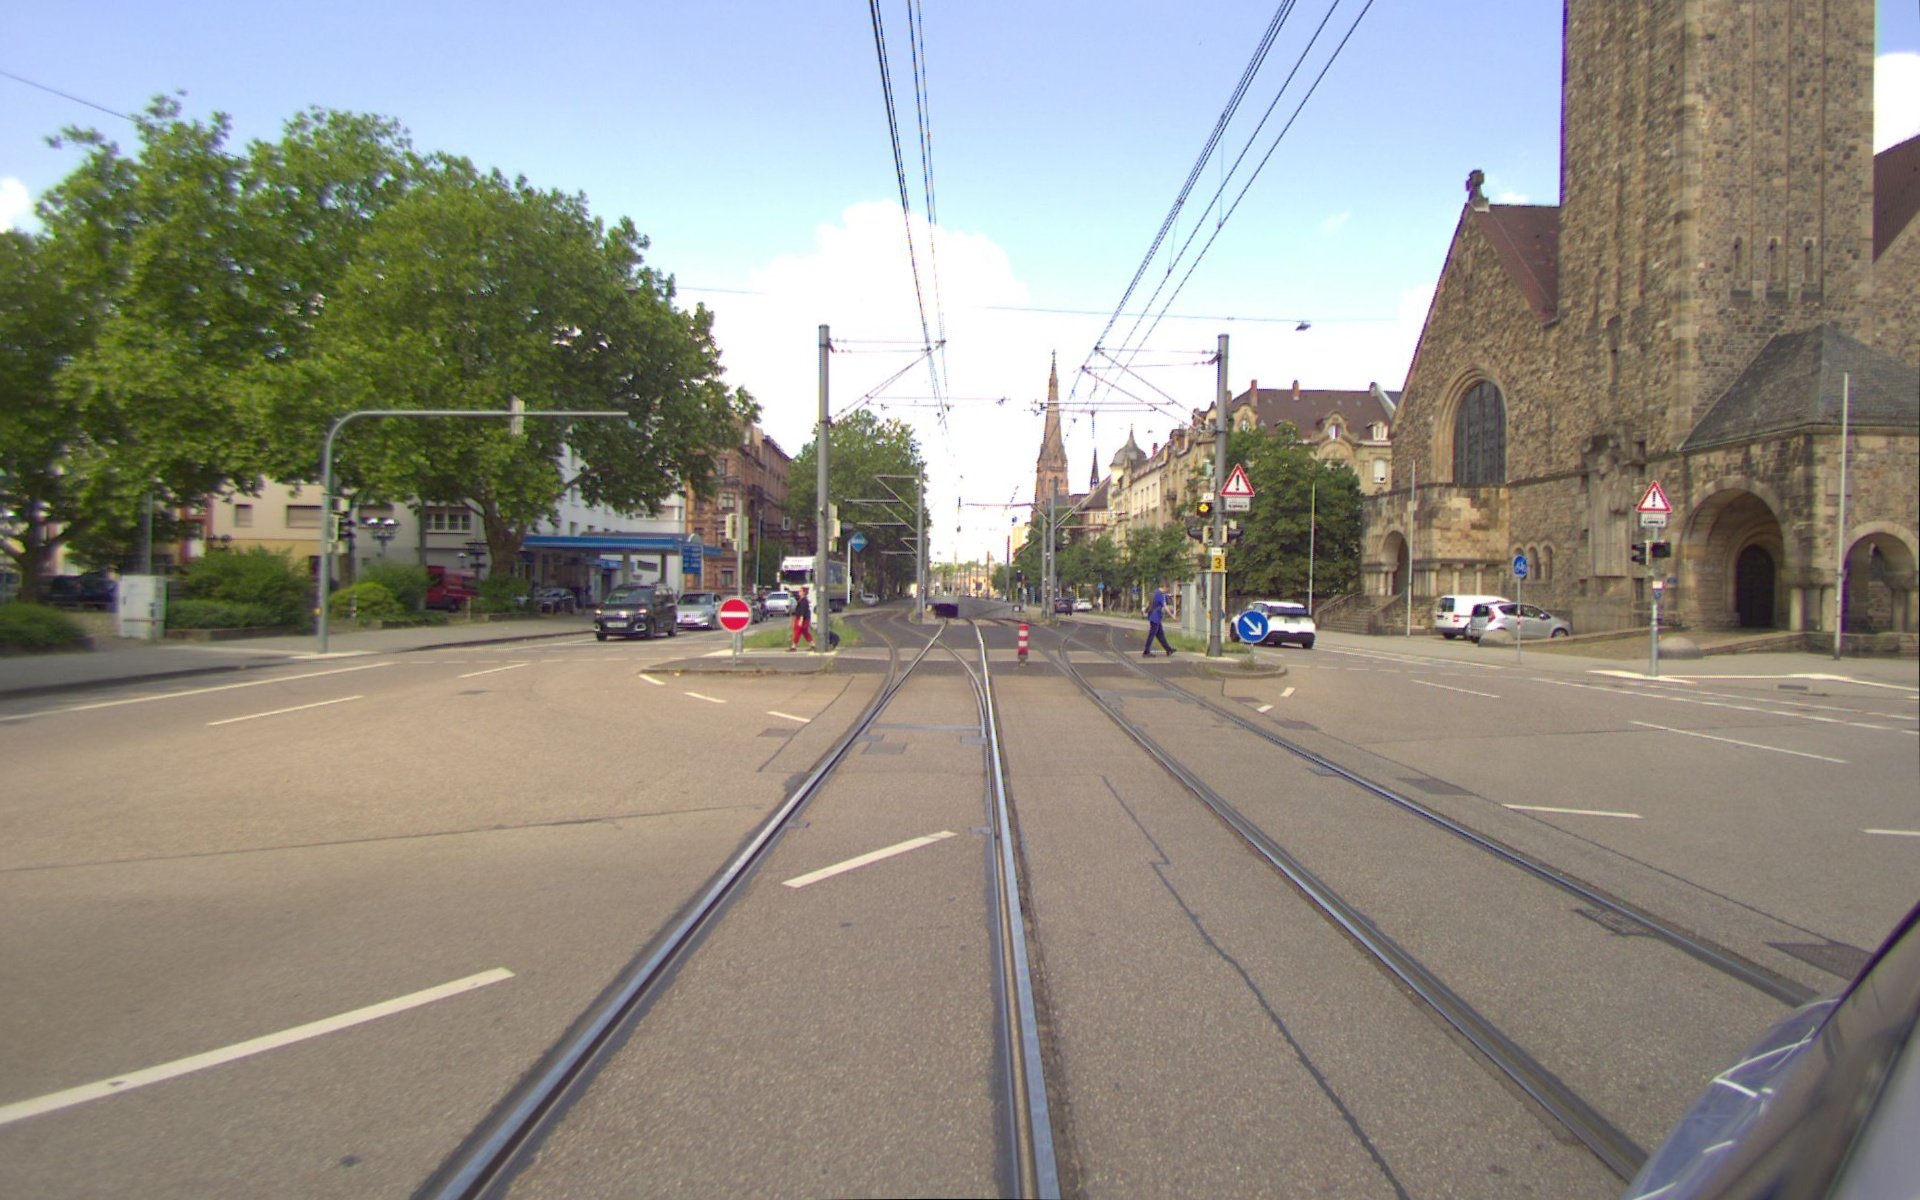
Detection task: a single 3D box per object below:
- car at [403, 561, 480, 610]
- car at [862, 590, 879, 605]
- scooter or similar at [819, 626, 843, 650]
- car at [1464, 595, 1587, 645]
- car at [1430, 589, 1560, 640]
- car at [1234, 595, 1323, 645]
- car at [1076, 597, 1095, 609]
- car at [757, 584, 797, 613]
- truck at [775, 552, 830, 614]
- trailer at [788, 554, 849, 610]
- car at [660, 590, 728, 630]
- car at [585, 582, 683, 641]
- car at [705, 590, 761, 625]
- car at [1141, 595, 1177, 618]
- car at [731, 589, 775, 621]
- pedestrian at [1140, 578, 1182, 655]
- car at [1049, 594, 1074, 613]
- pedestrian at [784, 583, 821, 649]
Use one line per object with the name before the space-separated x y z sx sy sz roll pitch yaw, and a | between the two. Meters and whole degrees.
car | -27.560 -0.807 53.936 2.072 2.450 4.001 1 1 0
car | -10.858 -0.342 122.762 1.769 1.651 4.001 1 2 -1
scooter or similar | -3.096 0.903 24.273 0.510 0.542 0.311 3 0 -13
car | 21.322 0.748 38.260 3.566 1.700 1.820 3 -1 -4
car | 21.982 0.584 41.681 4.222 1.877 2.000 2 0 -1
car | 10.707 0.620 34.303 1.787 1.524 4.129 1 1 2
car | 13.533 0.275 109.453 1.624 1.249 3.064 1 1 -1
car | -11.681 -0.118 64.829 1.819 1.726 4.135 1 1 0
truck | -11.241 -1.281 72.925 2.863 4.200 6.591 1 1 1
trailer | -11.075 -1.504 80.503 2.863 4.128 11.649 1 2 1
car | -10.866 0.357 41.617 1.701 1.484 4.328 1 1 -1
car | -10.667 0.319 33.434 1.819 1.748 4.419 1 1 0
car | -10.903 0.319 48.892 1.819 1.464 3.974 1 2 0
car | 14.352 0.458 73.104 1.755 1.514 3.838 1 1 -1
car | -11.180 0.245 54.880 1.654 1.582 3.754 1 1 -1
pedestrian | 4.647 0.369 23.443 0.757 1.753 0.744 1 1 -1
car | 9.042 0.319 90.425 1.751 1.553 4.387 2 1 0
pedestrian | -3.735 0.374 23.989 0.759 1.510 0.660 2 1 -13
